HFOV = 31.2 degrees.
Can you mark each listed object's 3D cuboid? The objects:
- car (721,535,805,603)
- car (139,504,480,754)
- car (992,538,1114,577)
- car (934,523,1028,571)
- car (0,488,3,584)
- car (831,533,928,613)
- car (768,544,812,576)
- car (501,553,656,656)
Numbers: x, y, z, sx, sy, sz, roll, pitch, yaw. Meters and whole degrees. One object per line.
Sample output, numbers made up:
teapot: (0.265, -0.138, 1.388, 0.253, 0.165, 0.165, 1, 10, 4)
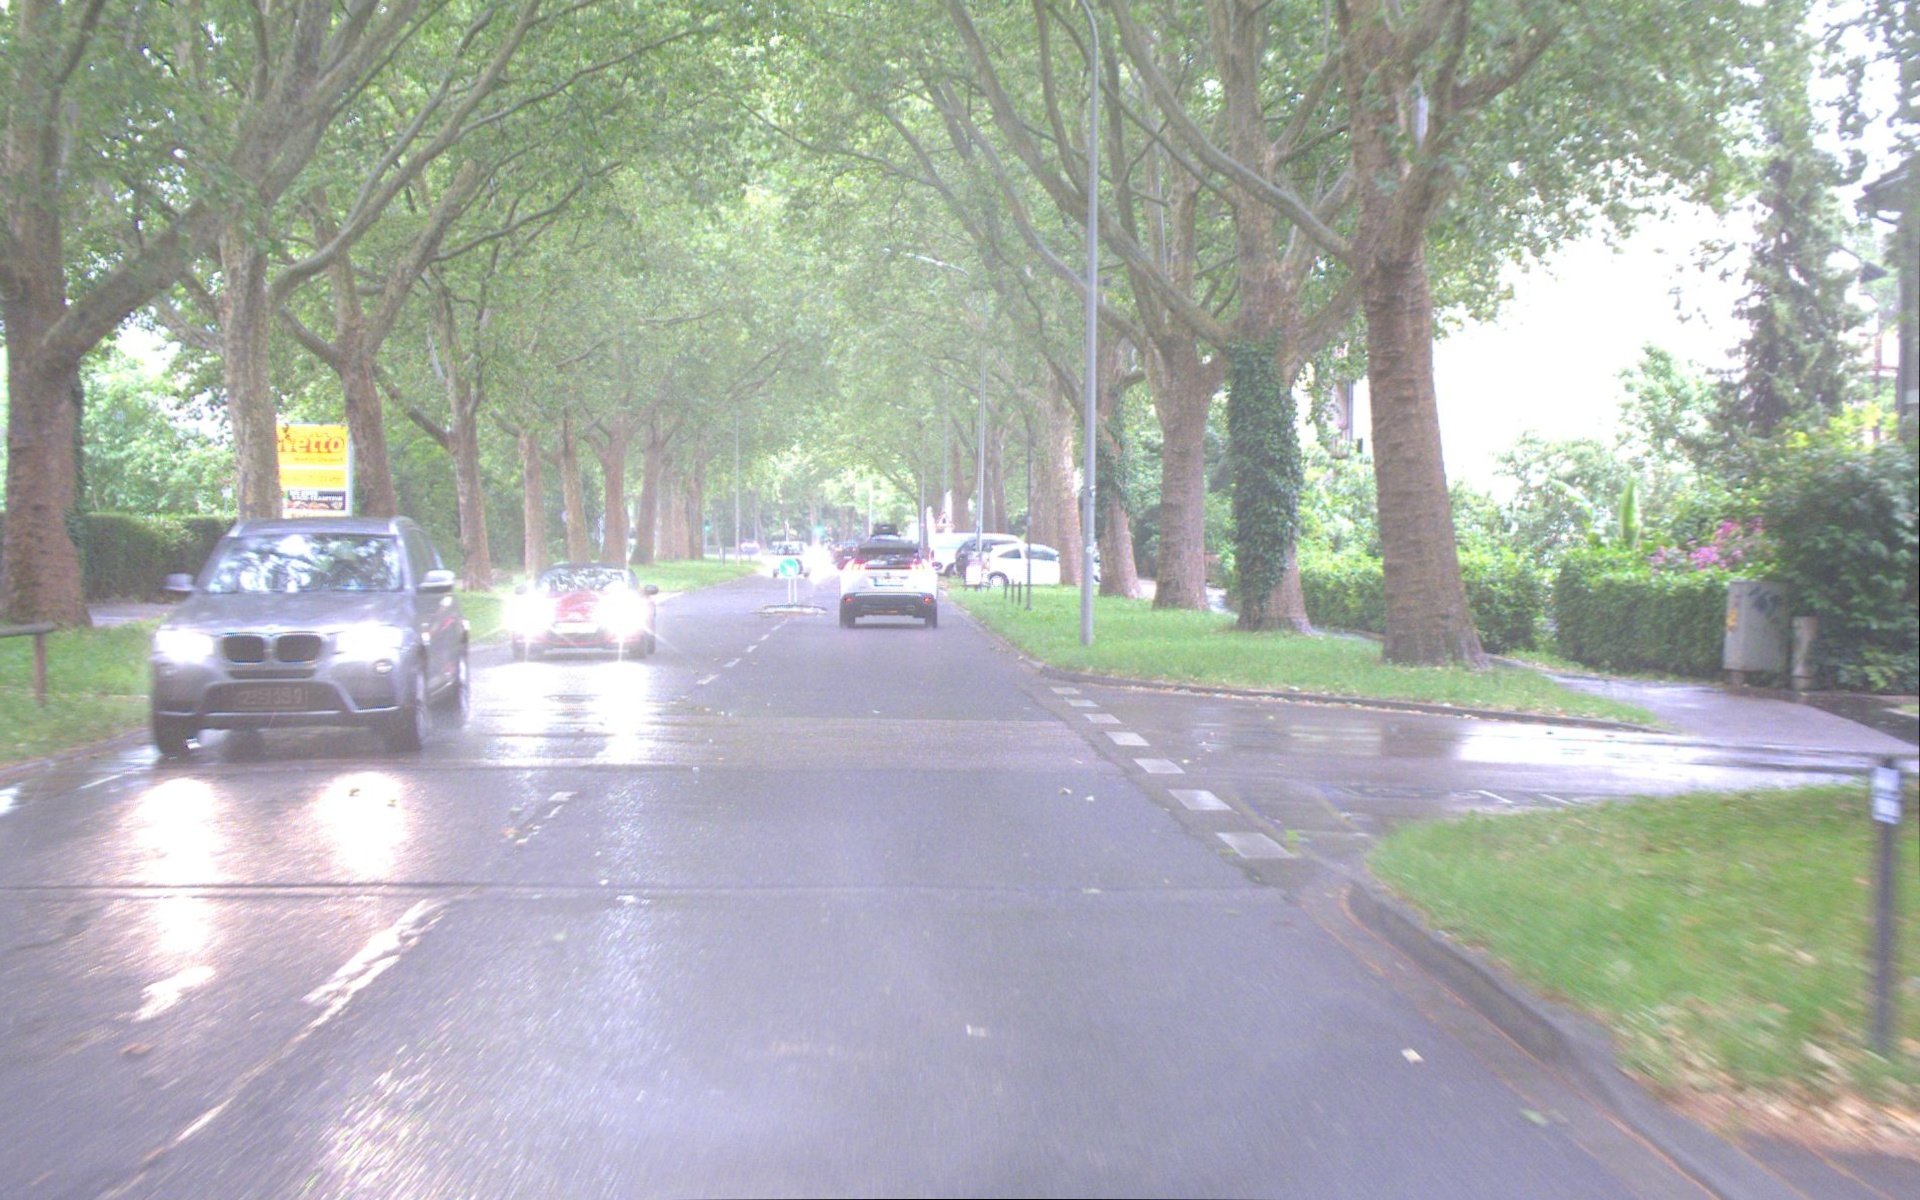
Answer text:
car: (-4.281, -0.694, 75.200, 1.706, 1.406, 3.645, -1, 1, -1)
car: (-4.700, 0.147, 25.434, 1.809, 1.678, 4.449, 0, 1, -2)
car: (2.823, -1.306, 104.852, 3.546, 1.151, 1.712, -1, 1, -4)
car: (0.802, -2.055, 132.630, 3.546, 1.835, 1.712, -1, 1, -3)
car: (-18.111, -1.102, 56.895, 3.987, 1.617, 2.000, 1, 1, -1)
car: (-1.464, -0.513, 62.850, 1.706, 1.406, 3.645, -1, 1, -1)
car: (-7.285, -1.727, 147.507, 1.720, 1.250, 4.000, 2, 1, -1)
car: (-4.979, 0.031, 45.222, 1.706, 1.246, 3.645, -1, 1, -1)
